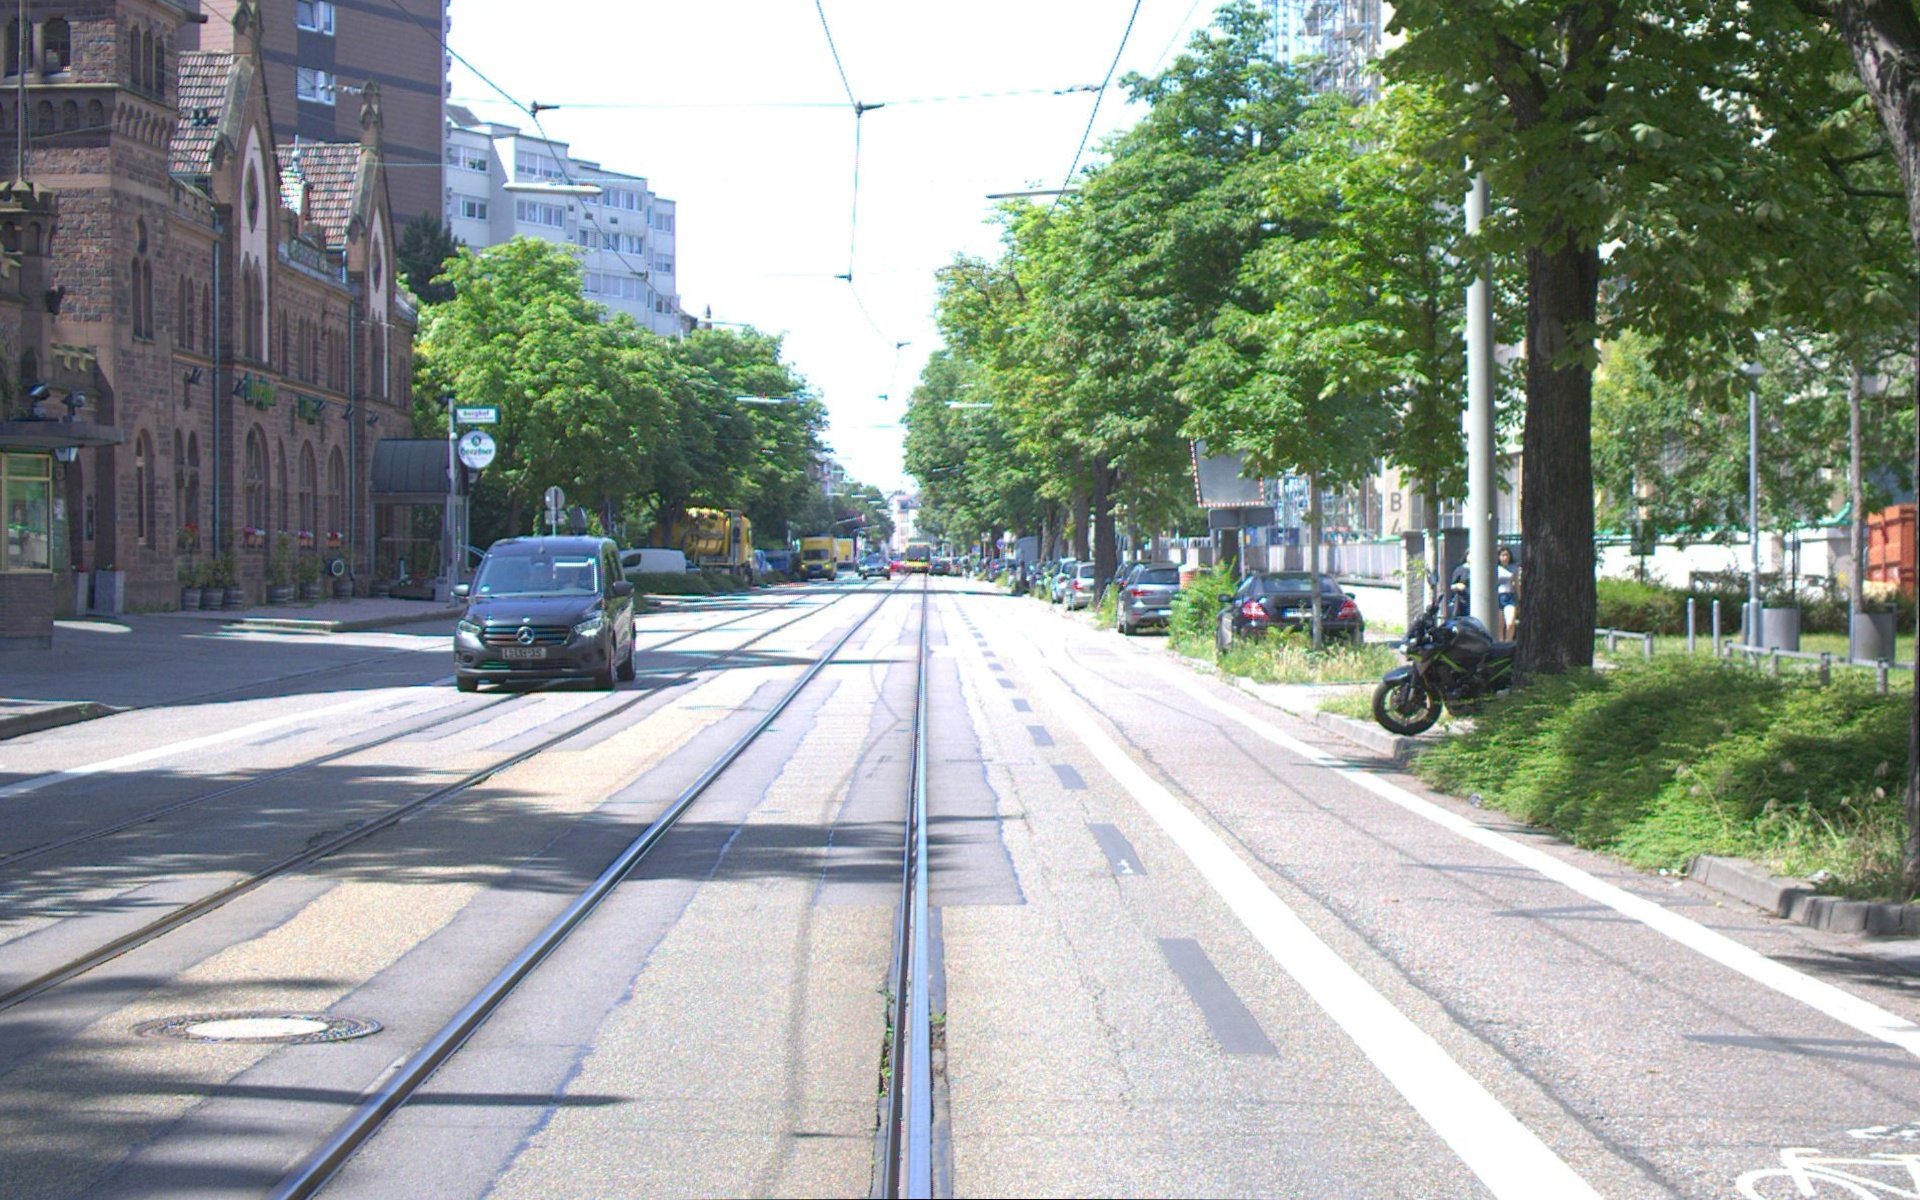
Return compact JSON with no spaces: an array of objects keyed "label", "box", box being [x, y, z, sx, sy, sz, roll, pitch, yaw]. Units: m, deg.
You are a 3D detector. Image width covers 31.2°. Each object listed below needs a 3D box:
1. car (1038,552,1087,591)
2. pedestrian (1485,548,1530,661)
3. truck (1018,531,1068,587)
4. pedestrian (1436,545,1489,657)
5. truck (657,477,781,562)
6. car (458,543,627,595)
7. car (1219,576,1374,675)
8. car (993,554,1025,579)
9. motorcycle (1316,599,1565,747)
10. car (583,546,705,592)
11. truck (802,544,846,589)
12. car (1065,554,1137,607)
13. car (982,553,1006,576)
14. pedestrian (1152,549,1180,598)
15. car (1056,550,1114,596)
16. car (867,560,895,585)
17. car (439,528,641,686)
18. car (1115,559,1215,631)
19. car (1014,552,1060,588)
[{"label":"car","box":[3.966,-1.127,133.473,1.824,1.466,4.486,0,1,1]},{"label":"pedestrian","box":[7.729,0.058,48.554,0.513,1.568,0.544,-1,1,0]},{"label":"truck","box":[3.736,-1.865,154.896,2.014,2.480,5.956,0,1,-1]},{"label":"pedestrian","box":[7.109,0.011,48.630,0.618,1.568,0.611,-1,1,0]},{"label":"truck","box":[-11.688,-3.861,167.855,2.717,3.828,10.956,1,0,14]},{"label":"car","box":[-12.855,-0.960,105.925,4.764,1.561,2.002,0,1,-28]},{"label":"car","box":[4.665,0.326,48.097,1.751,1.266,3.834,1,1,0]},{"label":"car","box":[2.939,-2.015,208.203,1.639,1.480,3.873,-1,0,-3]},{"label":"motorcycle","box":[4.040,0.600,29.021,2.060,1.208,0.611,0,-1,39]},{"label":"car","box":[-12.746,-1.250,138.777,4.533,1.785,1.901,1,1,-32]},{"label":"truck","box":[-8.863,-2.206,224.177,2.360,2.843,7.378,-1,1,1]},{"label":"car","box":[4.104,-0.586,100.581,1.671,1.494,4.366,0,1,-3]},{"label":"car","box":[2.461,-2.563,249.461,1.592,1.611,3.908,-1,0,-1]},{"label":"pedestrian","box":[6.746,-0.878,112.745,0.799,1.583,0.919,-2,1,-1]},{"label":"car","box":[4.128,-0.907,113.652,1.671,1.512,4.202,0,1,-1]},{"label":"car","box":[-5.315,-1.850,232.326,1.831,1.675,4.185,0,1,0]},{"label":"car","box":[-4.943,0.047,40.984,1.904,1.782,4.256,0,1,0]},{"label":"car","box":[4.157,-0.131,70.308,1.671,1.403,4.749,0,1,-1]},{"label":"car","box":[3.239,-1.271,144.161,1.824,1.466,4.400,0,1,2]}]
